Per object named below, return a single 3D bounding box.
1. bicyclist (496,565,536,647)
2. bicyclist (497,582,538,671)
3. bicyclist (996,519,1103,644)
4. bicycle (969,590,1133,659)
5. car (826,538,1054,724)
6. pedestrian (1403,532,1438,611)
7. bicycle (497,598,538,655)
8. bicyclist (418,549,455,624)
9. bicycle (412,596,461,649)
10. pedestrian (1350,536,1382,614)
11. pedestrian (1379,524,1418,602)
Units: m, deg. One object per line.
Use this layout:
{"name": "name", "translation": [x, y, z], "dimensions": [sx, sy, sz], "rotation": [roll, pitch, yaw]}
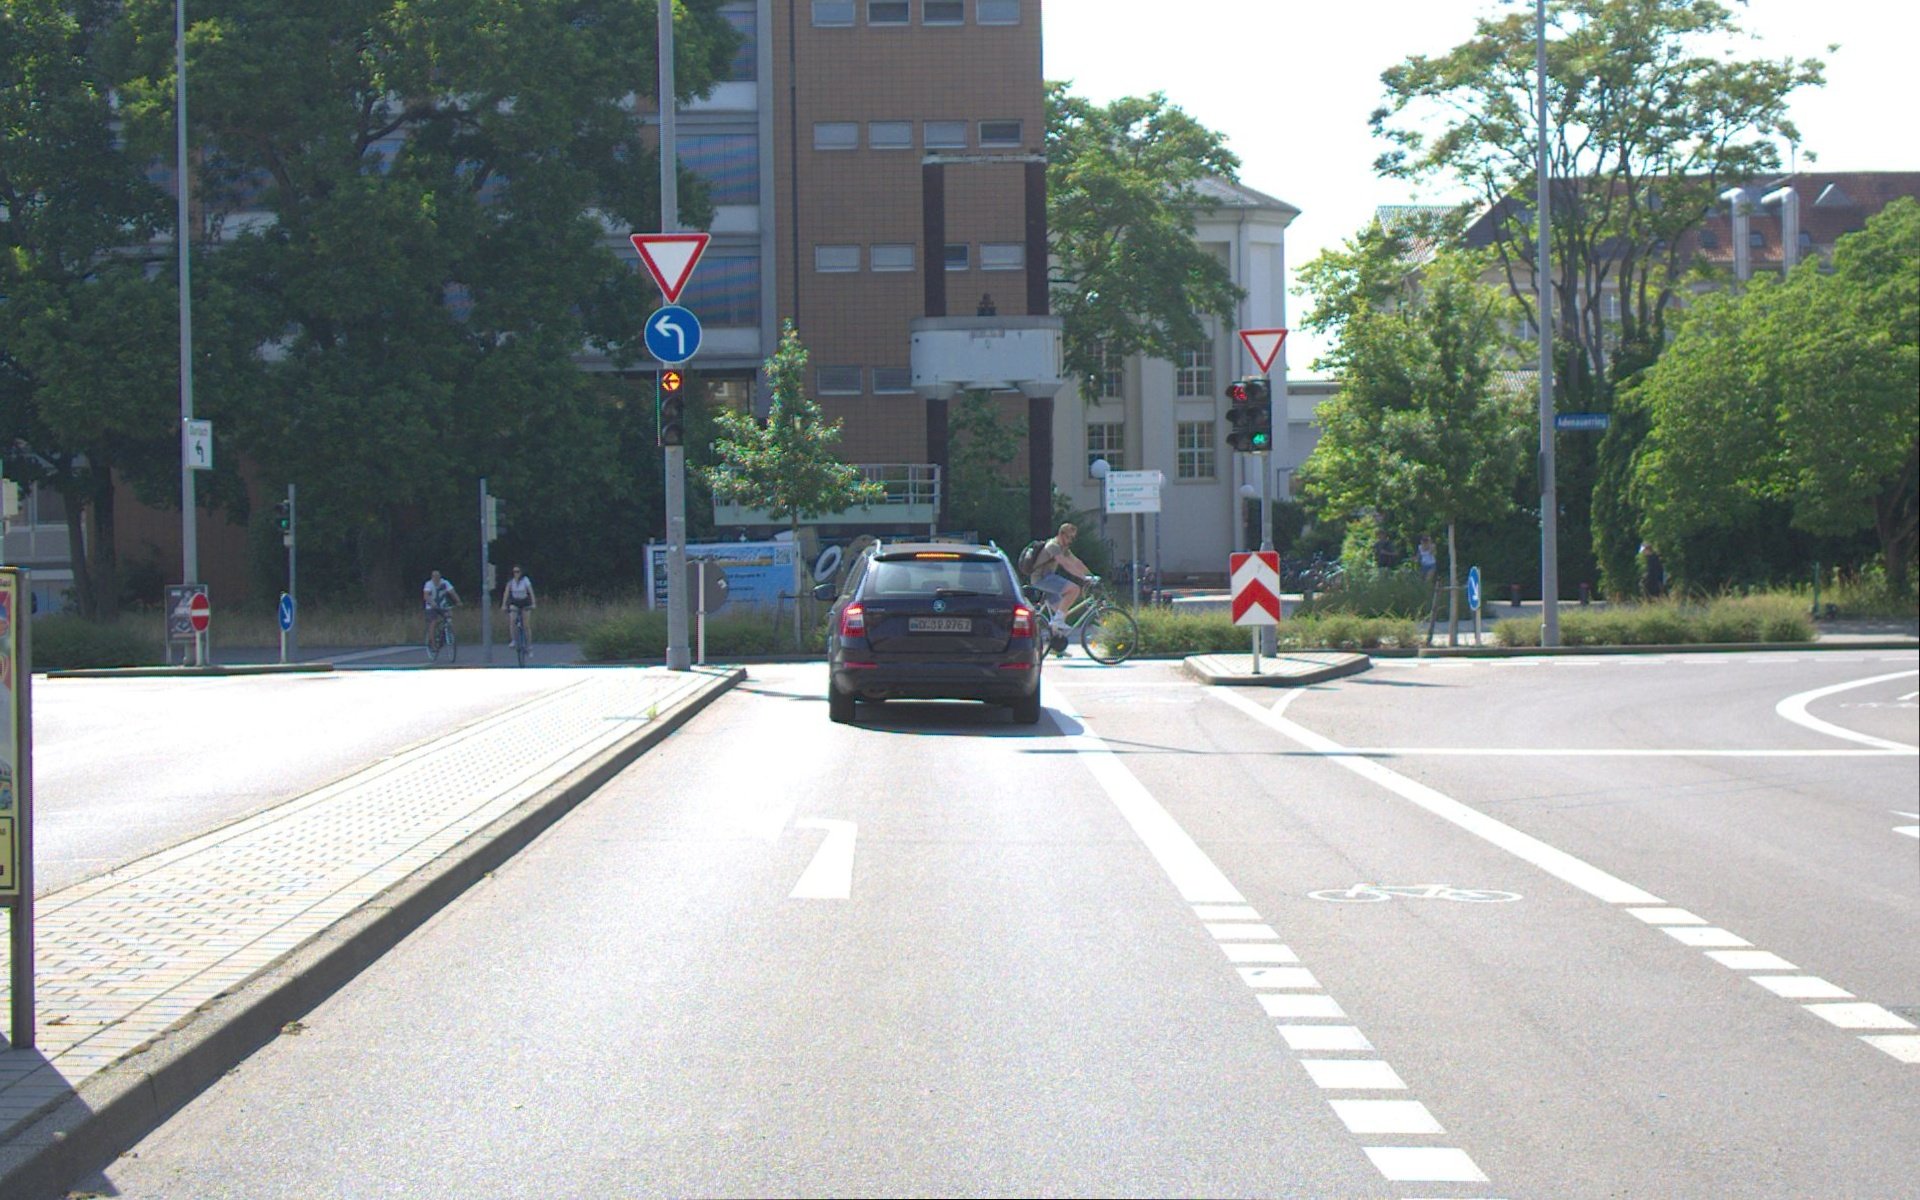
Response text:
{"name": "bicyclist", "translation": [-8.084, 0.102, 62.628], "dimensions": [0.618, 1.438, 0.921], "rotation": [-3, 1, -5]}
{"name": "bicyclist", "translation": [-8.061, 0.474, 62.621], "dimensions": [0.618, 1.576, 1.014], "rotation": [-3, 1, -5]}
{"name": "bicyclist", "translation": [1.080, -0.229, 41.296], "dimensions": [1.166, 1.469, 0.564], "rotation": [-1, 1, 12]}
{"name": "bicycle", "translation": [1.094, 0.298, 41.303], "dimensions": [1.891, 0.790, 0.560], "rotation": [-1, 2, 12]}
{"name": "car", "translation": [-0.161, 0.209, 28.942], "dimensions": [1.780, 1.438, 3.818], "rotation": [1, 1, 0]}
{"name": "pedestrian", "translation": [11.058, -0.688, 82.559], "dimensions": [0.637, 1.868, 0.796], "rotation": [-3, 1, -1]}
{"name": "bicycle", "translation": [-8.062, 0.474, 62.633], "dimensions": [0.618, 0.957, 1.968], "rotation": [-3, 1, -5]}
{"name": "bicyclist", "translation": [-10.102, -0.257, 66.356], "dimensions": [0.539, 1.412, 1.030], "rotation": [-2, 0, -2]}
{"name": "bicycle", "translation": [-10.109, 0.430, 66.470], "dimensions": [0.704, 0.974, 2.031], "rotation": [-1, 1, -2]}
{"name": "pedestrian", "translation": [9.894, -0.610, 83.722], "dimensions": [0.597, 1.868, 0.638], "rotation": [1, 0, 23]}
{"name": "pedestrian", "translation": [10.666, -0.898, 83.531], "dimensions": [0.794, 1.868, 0.638], "rotation": [1, 0, 19]}
